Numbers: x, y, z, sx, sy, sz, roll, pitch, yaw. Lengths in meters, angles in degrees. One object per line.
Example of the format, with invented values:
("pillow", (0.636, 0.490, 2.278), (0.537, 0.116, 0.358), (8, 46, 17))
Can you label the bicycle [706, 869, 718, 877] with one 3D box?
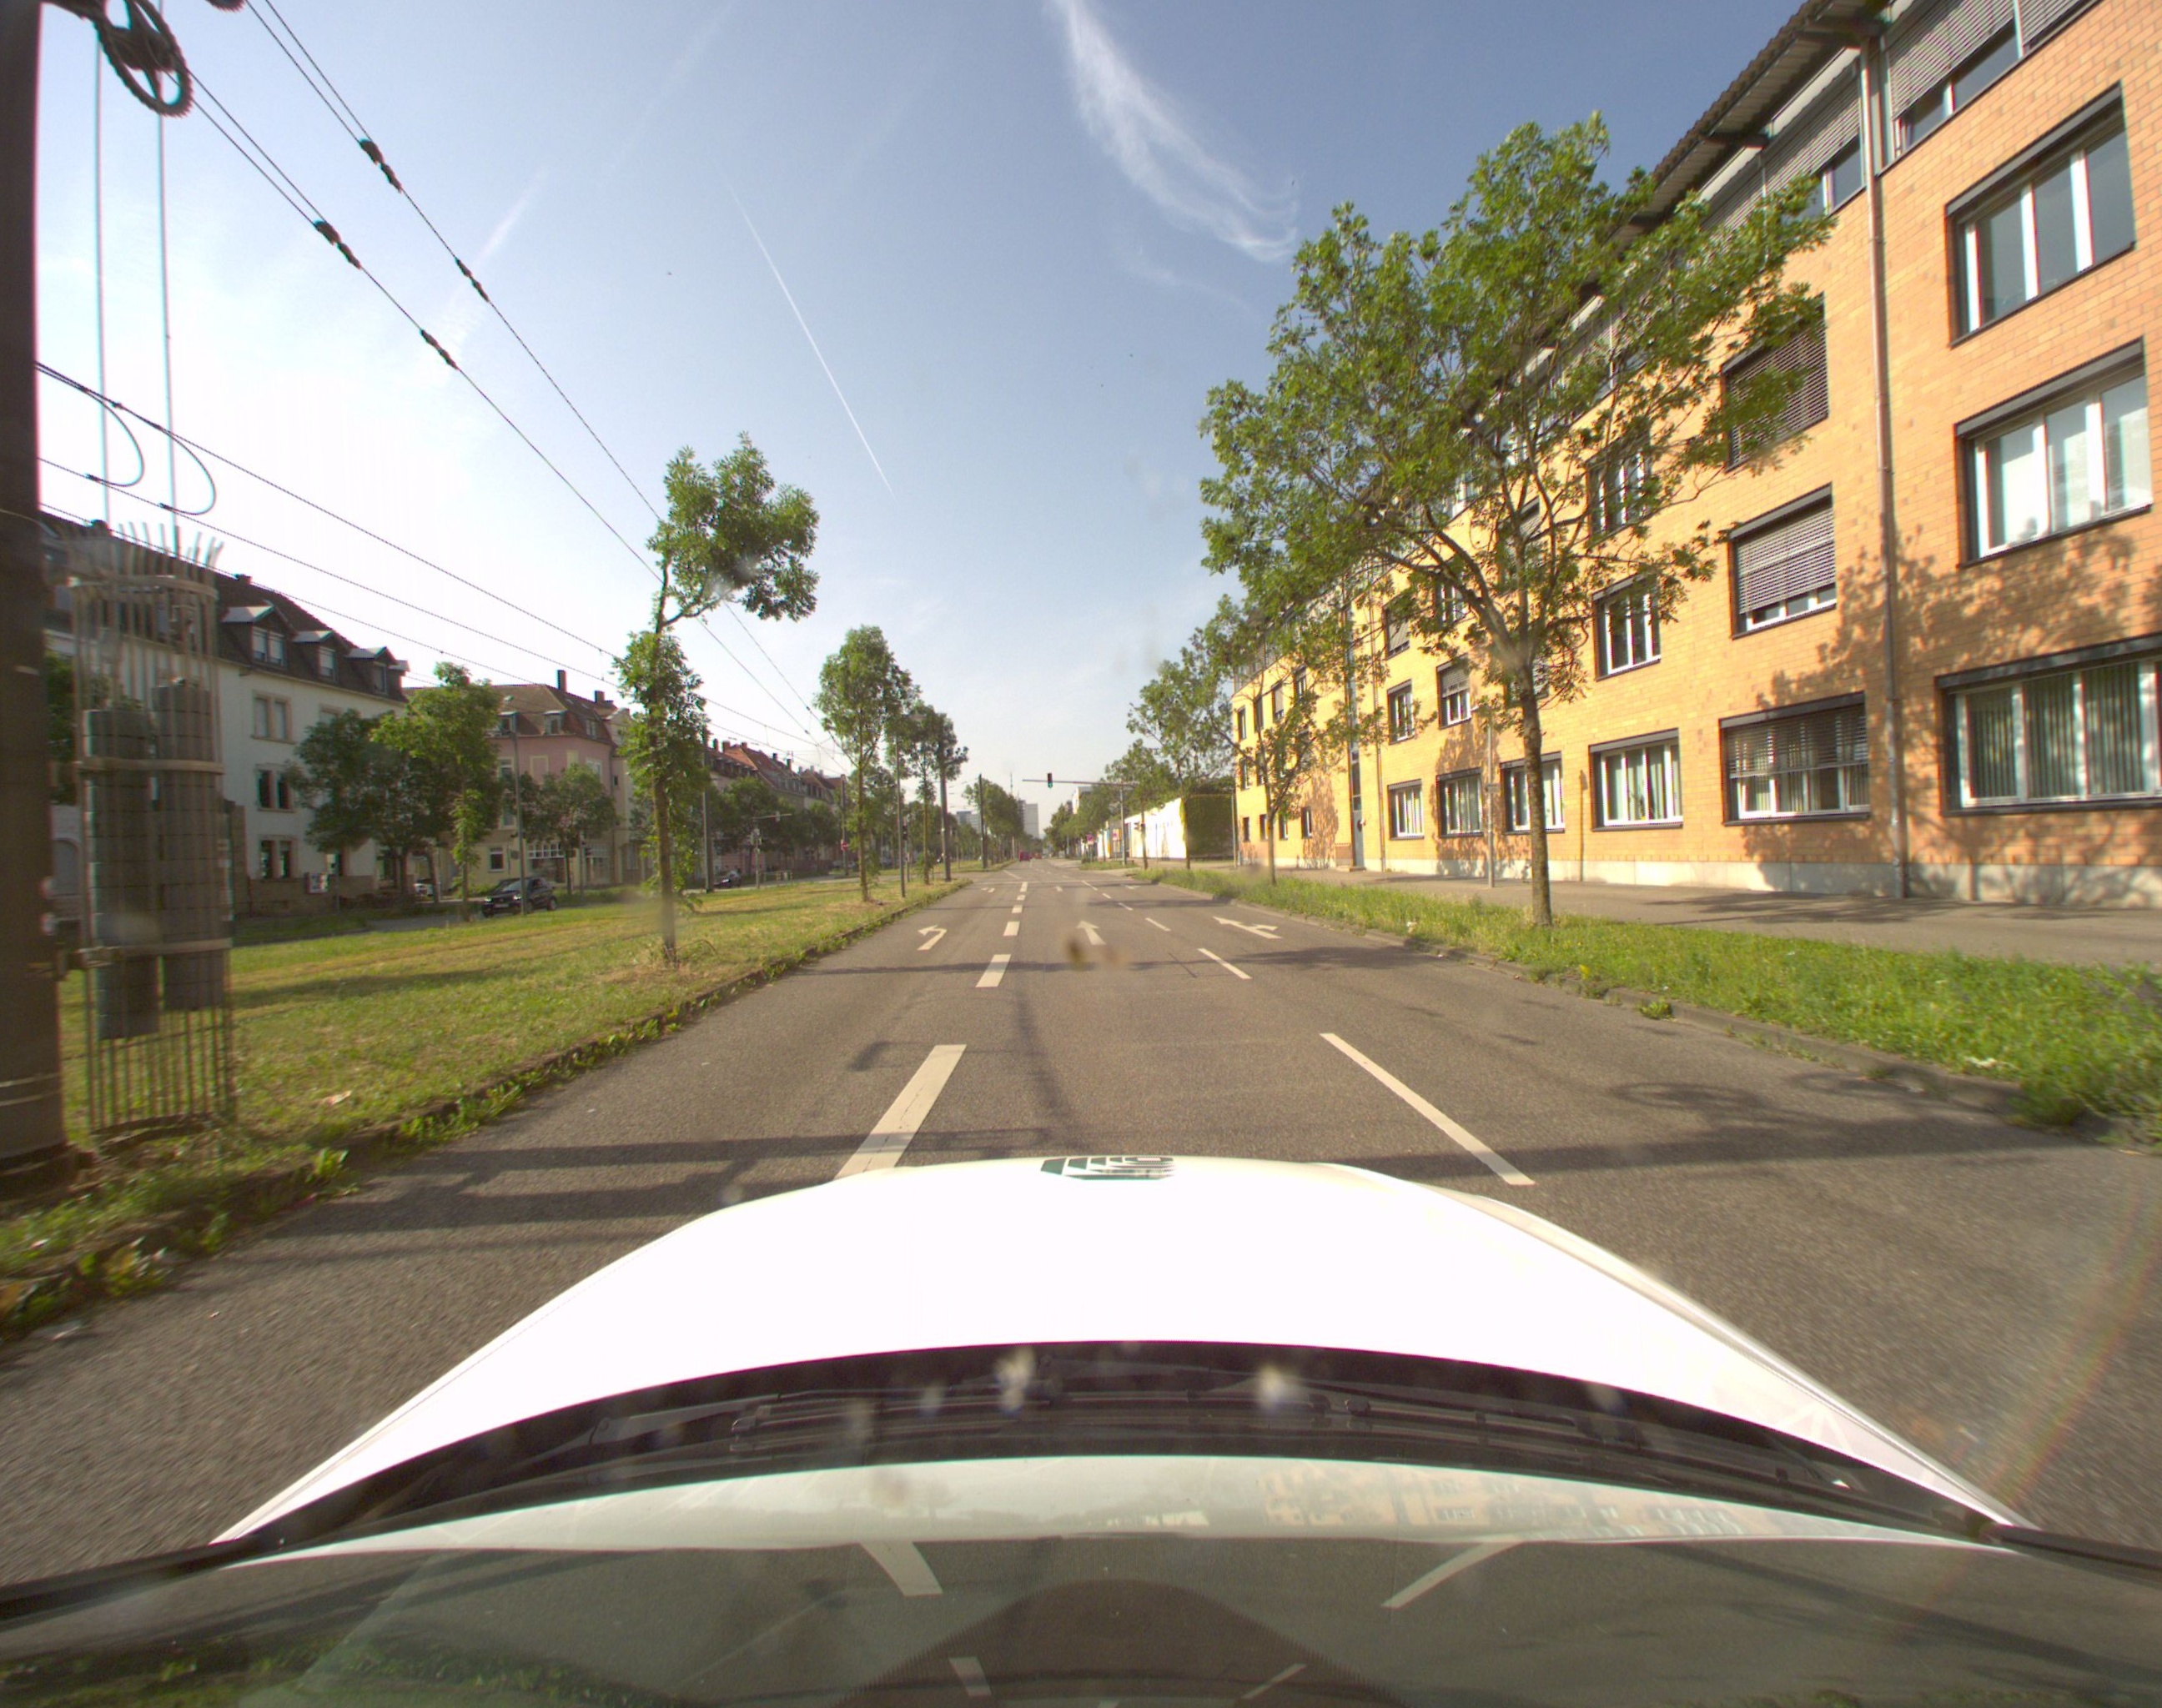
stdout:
("bicycle", (-36.746, 1.921, 81.087), (0.436, 0.789, 1.944), (0, 0, -5))

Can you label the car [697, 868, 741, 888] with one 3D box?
("car", (-27.479, 1.794, 61.870), (1.809, 1.433, 3.920), (0, 0, -4))

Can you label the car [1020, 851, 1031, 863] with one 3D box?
("car", (-9.922, 0.508, 145.504), (1.744, 2.014, 3.212), (0, 0, -3))

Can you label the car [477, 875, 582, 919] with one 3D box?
("car", (-23.145, 1.772, 34.346), (1.759, 1.655, 3.998), (0, 0, -1))

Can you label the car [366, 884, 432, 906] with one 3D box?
("car", (-50.112, 3.009, 59.862), (3.393, 1.461, 1.567), (0, -1, -6))

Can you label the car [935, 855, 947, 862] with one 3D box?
("car", (-33.305, 1.149, 193.846), (1.958, 1.694, 4.296), (0, 0, 0))

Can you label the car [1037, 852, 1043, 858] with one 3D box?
("car", (-11.468, 0.371, 226.709), (1.744, 1.650, 3.212), (0, 0, -3))

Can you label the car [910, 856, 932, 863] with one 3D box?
("car", (-39.038, 1.316, 198.881), (5.259, 1.738, 2.012), (-1, -1, 30))

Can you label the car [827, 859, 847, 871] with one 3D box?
("car", (-36.239, 1.581, 121.021), (1.990, 1.628, 4.766), (0, 0, -5))

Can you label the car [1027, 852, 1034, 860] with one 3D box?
("car", (-13.830, 0.562, 222.354), (1.744, 2.014, 3.212), (0, 0, -3))
